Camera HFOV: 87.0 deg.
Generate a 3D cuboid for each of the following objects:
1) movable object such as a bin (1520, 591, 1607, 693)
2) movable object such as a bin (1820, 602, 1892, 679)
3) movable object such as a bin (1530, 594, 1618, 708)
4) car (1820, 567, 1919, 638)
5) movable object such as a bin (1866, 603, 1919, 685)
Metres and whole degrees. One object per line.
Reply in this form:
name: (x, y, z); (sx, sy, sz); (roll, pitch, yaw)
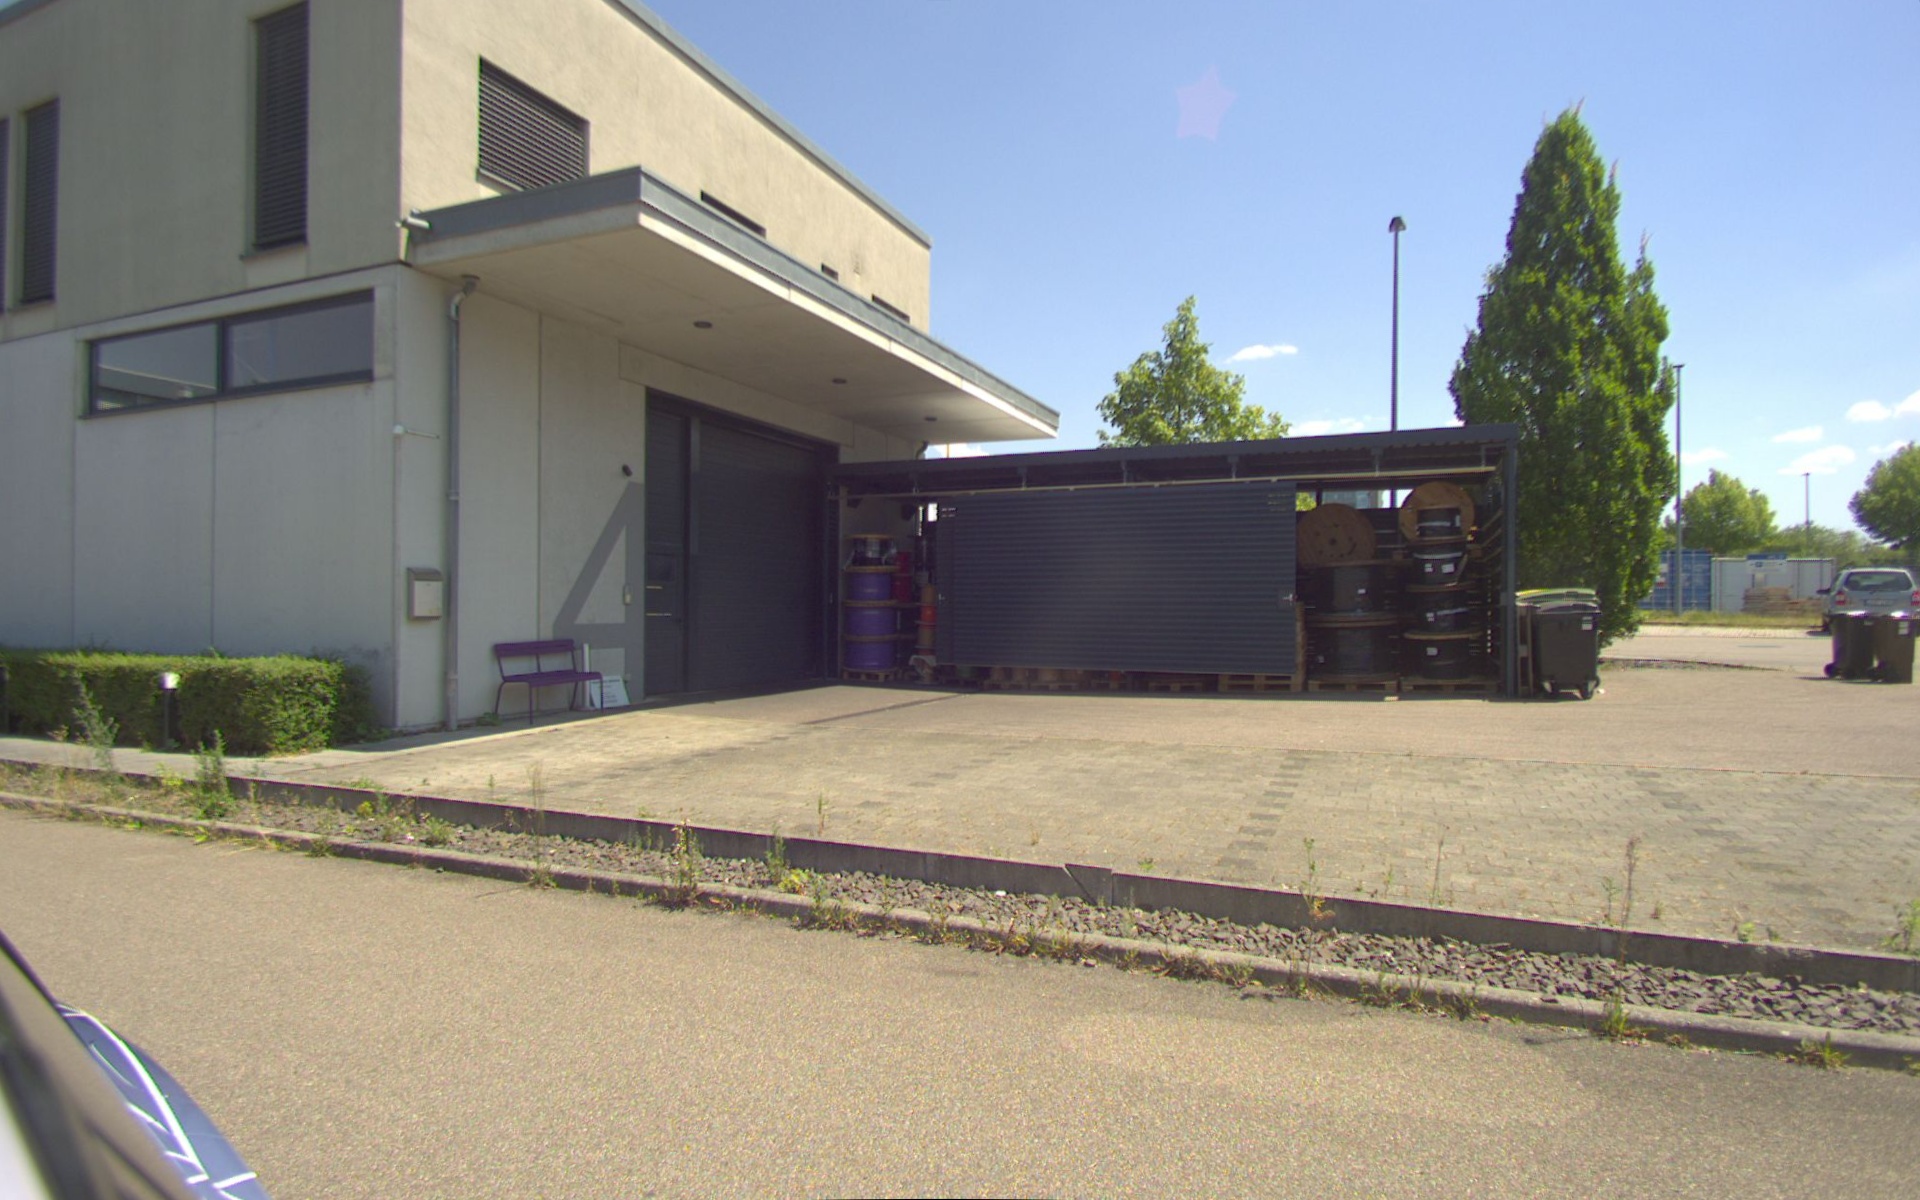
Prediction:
movable object such as a bin: (8.219, 0.552, 13.820); (0.969, 1.340, 0.703); (-1, -1, 29)
movable object such as a bin: (12.264, 0.545, 13.859); (0.419, 1.035, 0.583); (0, -1, -10)
movable object such as a bin: (7.604, 0.607, 12.576); (0.880, 1.355, 0.805); (-1, -1, 29)
car: (22.596, 0.016, 24.852); (1.997, 1.602, 3.950); (1, 1, 37)
movable object such as a bin: (12.362, 0.567, 13.268); (0.419, 1.044, 0.580); (0, -1, -10)
